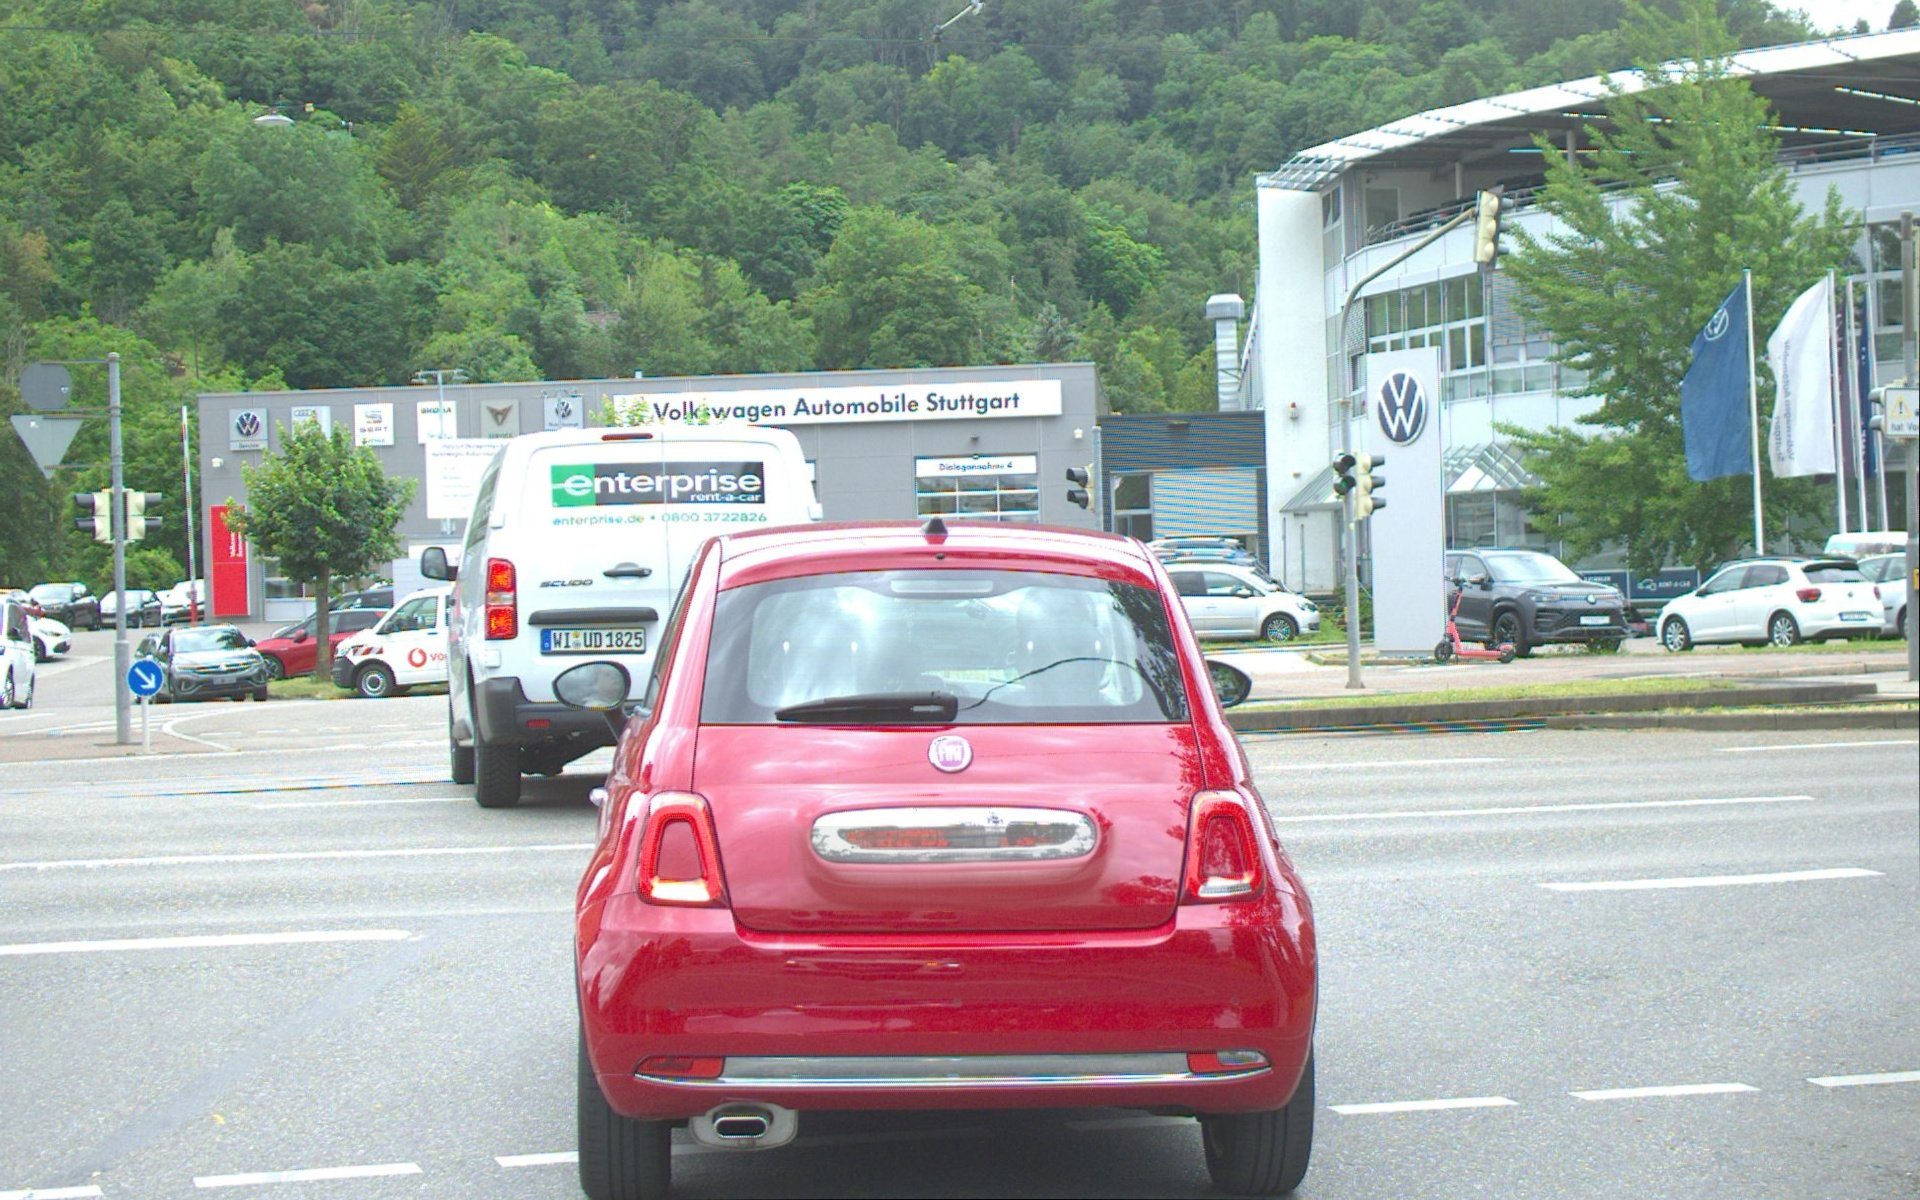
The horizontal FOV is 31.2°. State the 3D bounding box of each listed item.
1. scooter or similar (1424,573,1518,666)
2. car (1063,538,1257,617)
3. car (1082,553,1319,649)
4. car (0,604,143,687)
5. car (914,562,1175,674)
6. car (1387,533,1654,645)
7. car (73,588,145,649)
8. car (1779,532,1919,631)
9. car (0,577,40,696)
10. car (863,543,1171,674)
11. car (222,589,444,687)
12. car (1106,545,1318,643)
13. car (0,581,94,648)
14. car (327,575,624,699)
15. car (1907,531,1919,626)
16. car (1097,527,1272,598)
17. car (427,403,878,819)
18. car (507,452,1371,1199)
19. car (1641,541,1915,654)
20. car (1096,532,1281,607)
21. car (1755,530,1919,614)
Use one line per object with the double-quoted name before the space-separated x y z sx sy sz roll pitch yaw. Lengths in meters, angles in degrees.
"scooter or similar" 7.316 0.283 49.231 1.200 1.284 0.575 2 -1 -5
"car" 4.816 -0.527 83.339 4.495 1.723 2.000 2 -1 -1
"car" 4.746 0.030 68.284 4.495 1.723 2.000 2 -1 -1
"car" -23.217 1.154 87.821 4.494 1.990 2.000 2 -1 -13
"car" 1.375 0.318 57.124 3.986 1.700 2.000 2 -1 -9
"car" 8.480 -0.160 52.297 1.993 1.634 4.000 0 0 -28
"car" -29.368 0.677 118.791 1.993 1.990 4.511 2 -1 -9
"car" 15.062 -0.267 54.555 1.808 1.472 4.000 2 -2 -28
"car" -16.152 0.575 55.501 2.075 1.847 4.909 2 -1 -11
"car" 0.827 0.093 48.539 3.989 1.634 1.999 1 3 13
"car" -13.814 0.857 75.984 4.495 1.990 2.000 2 -1 -1
"car" 5.589 -0.112 76.574 4.495 1.990 2.000 2 -1 -1
"car" -29.995 0.442 109.315 4.494 1.990 2.000 2 -1 -7
"car" -8.840 0.693 62.902 5.002 2.007 1.999 -2 -2 4
"car" 17.433 -0.328 55.455 1.921 1.549 4.000 2 -2 -28
"car" 6.041 -1.005 92.867 4.495 1.723 2.000 2 -1 -1
"car" -1.890 0.103 19.540 1.998 2.034 4.832 1 -1 -11
"car" -0.006 0.491 8.964 1.697 1.520 4.000 2 0 1
"car" 12.726 -0.019 53.708 1.993 1.634 4.000 2 -2 -28
"car" 5.809 -0.764 87.688 4.495 1.723 2.000 2 -1 -1
"car" 17.876 -0.527 67.749 1.921 1.549 3.999 3 -2 -36
